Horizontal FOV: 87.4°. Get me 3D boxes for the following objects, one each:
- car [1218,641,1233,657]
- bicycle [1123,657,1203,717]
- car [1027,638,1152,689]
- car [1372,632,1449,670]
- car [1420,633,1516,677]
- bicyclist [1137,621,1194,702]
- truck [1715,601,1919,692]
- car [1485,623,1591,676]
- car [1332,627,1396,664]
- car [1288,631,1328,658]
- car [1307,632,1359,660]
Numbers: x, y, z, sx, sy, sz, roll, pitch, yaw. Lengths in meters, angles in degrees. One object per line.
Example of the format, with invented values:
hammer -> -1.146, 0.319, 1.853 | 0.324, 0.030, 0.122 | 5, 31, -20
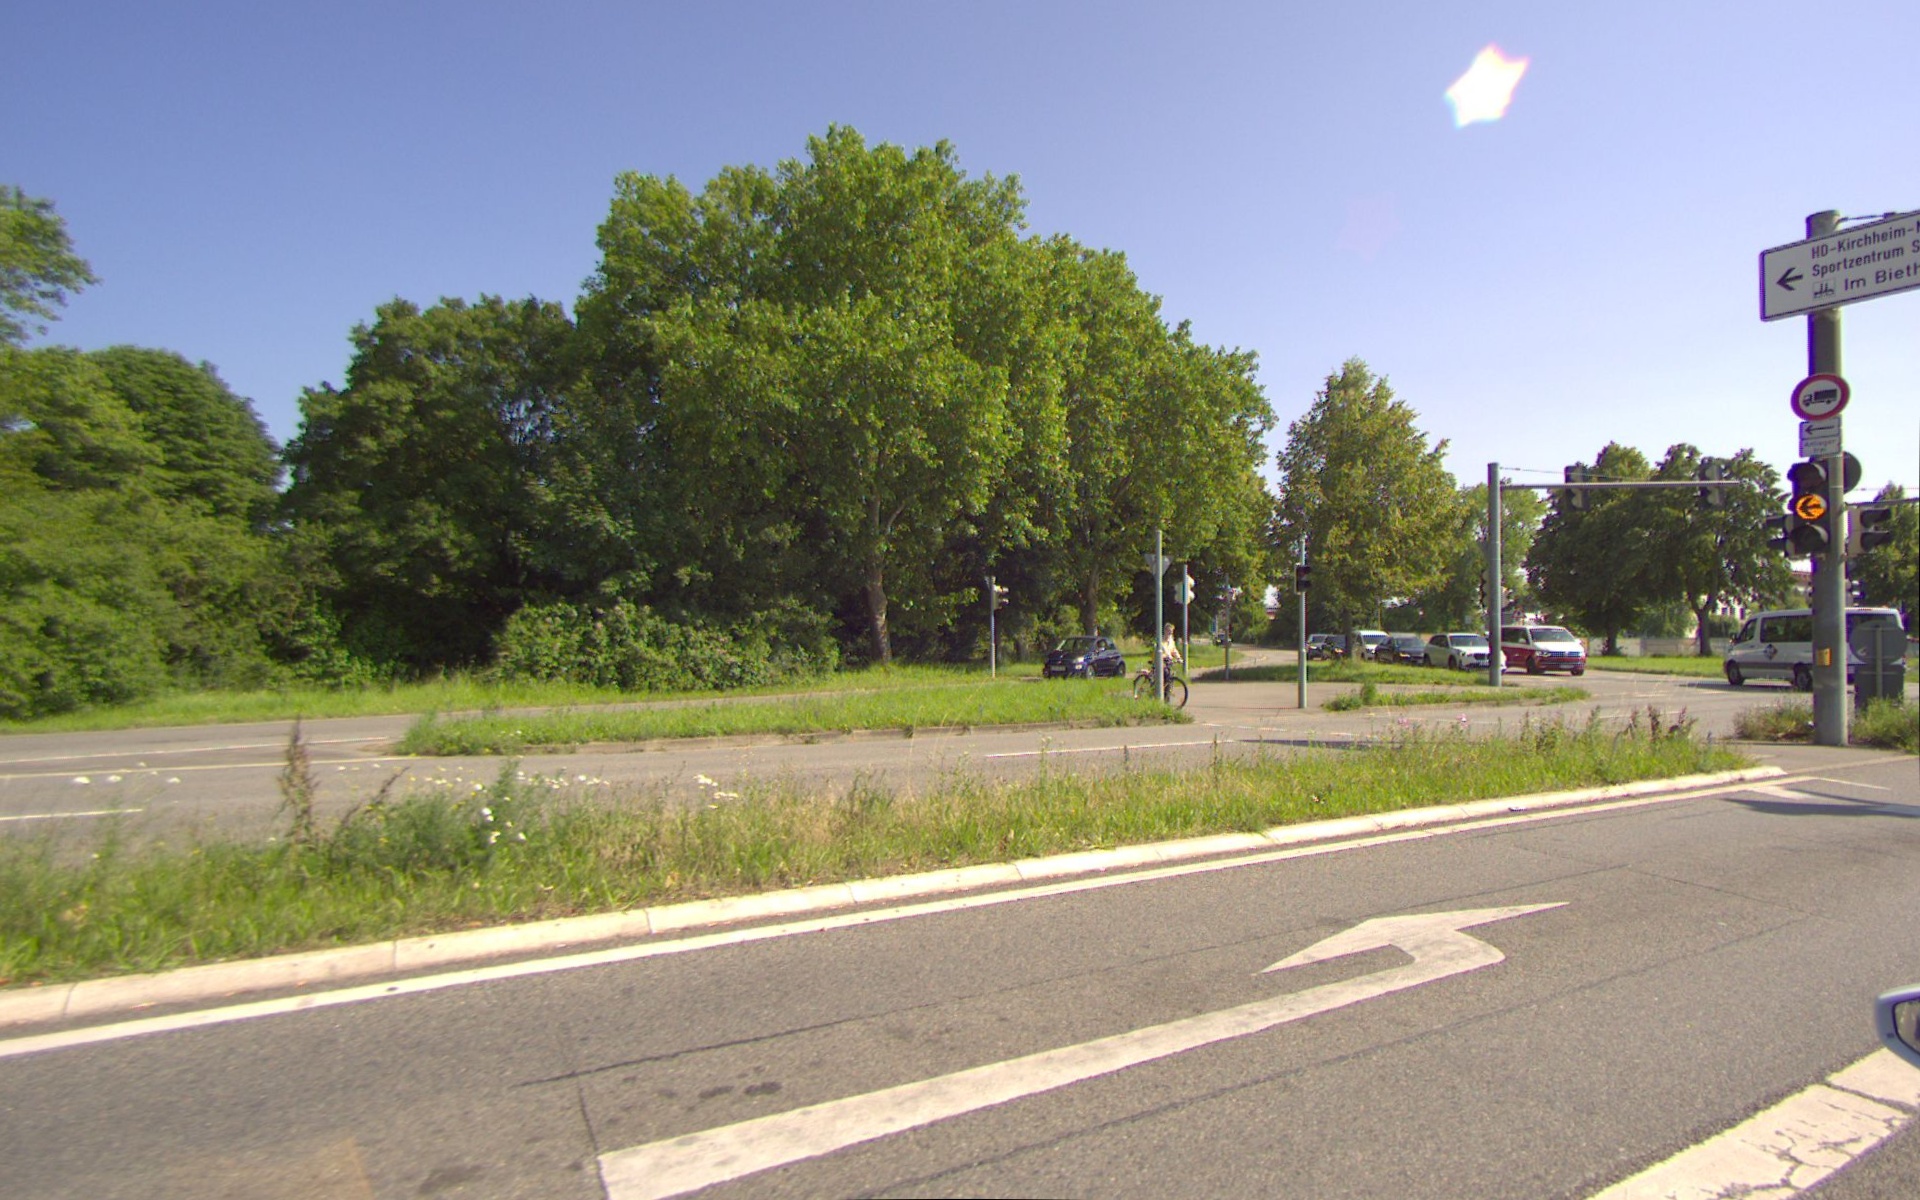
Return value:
car -> 33.234, 6.124, 125.599 | 1.741, 1.773, 4.101 | 1, 0, 15
bicycle -> 4.031, 1.708, 20.083 | 0.736, 1.055, 1.672 | 1, 0, -24
car -> 4.243, 2.029, 32.428 | 1.971, 1.515, 4.263 | -2, -4, 41
car -> 20.425, 2.267, 45.736 | 1.964, 1.627, 4.271 | 0, -2, 6
car -> 19.807, 2.109, 39.404 | 1.964, 1.627, 4.271 | 0, -2, 6
bicyclist -> 4.082, 1.205, 19.989 | 0.737, 1.538, 0.844 | 1, 0, -24
truck -> 25.447, 1.304, 30.067 | 2.333, 2.420, 6.044 | 0, -1, 14
car -> 23.202, 1.960, 40.536 | 1.959, 1.976, 4.659 | 0, -2, 6
car -> 21.102, 2.358, 52.664 | 1.964, 1.824, 4.510 | 0, -2, 6
car -> 22.345, 2.837, 64.551 | 1.964, 1.627, 4.271 | 0, -2, 13
car -> 21.750, 2.667, 58.736 | 1.881, 1.532, 4.129 | 0, -2, 6
